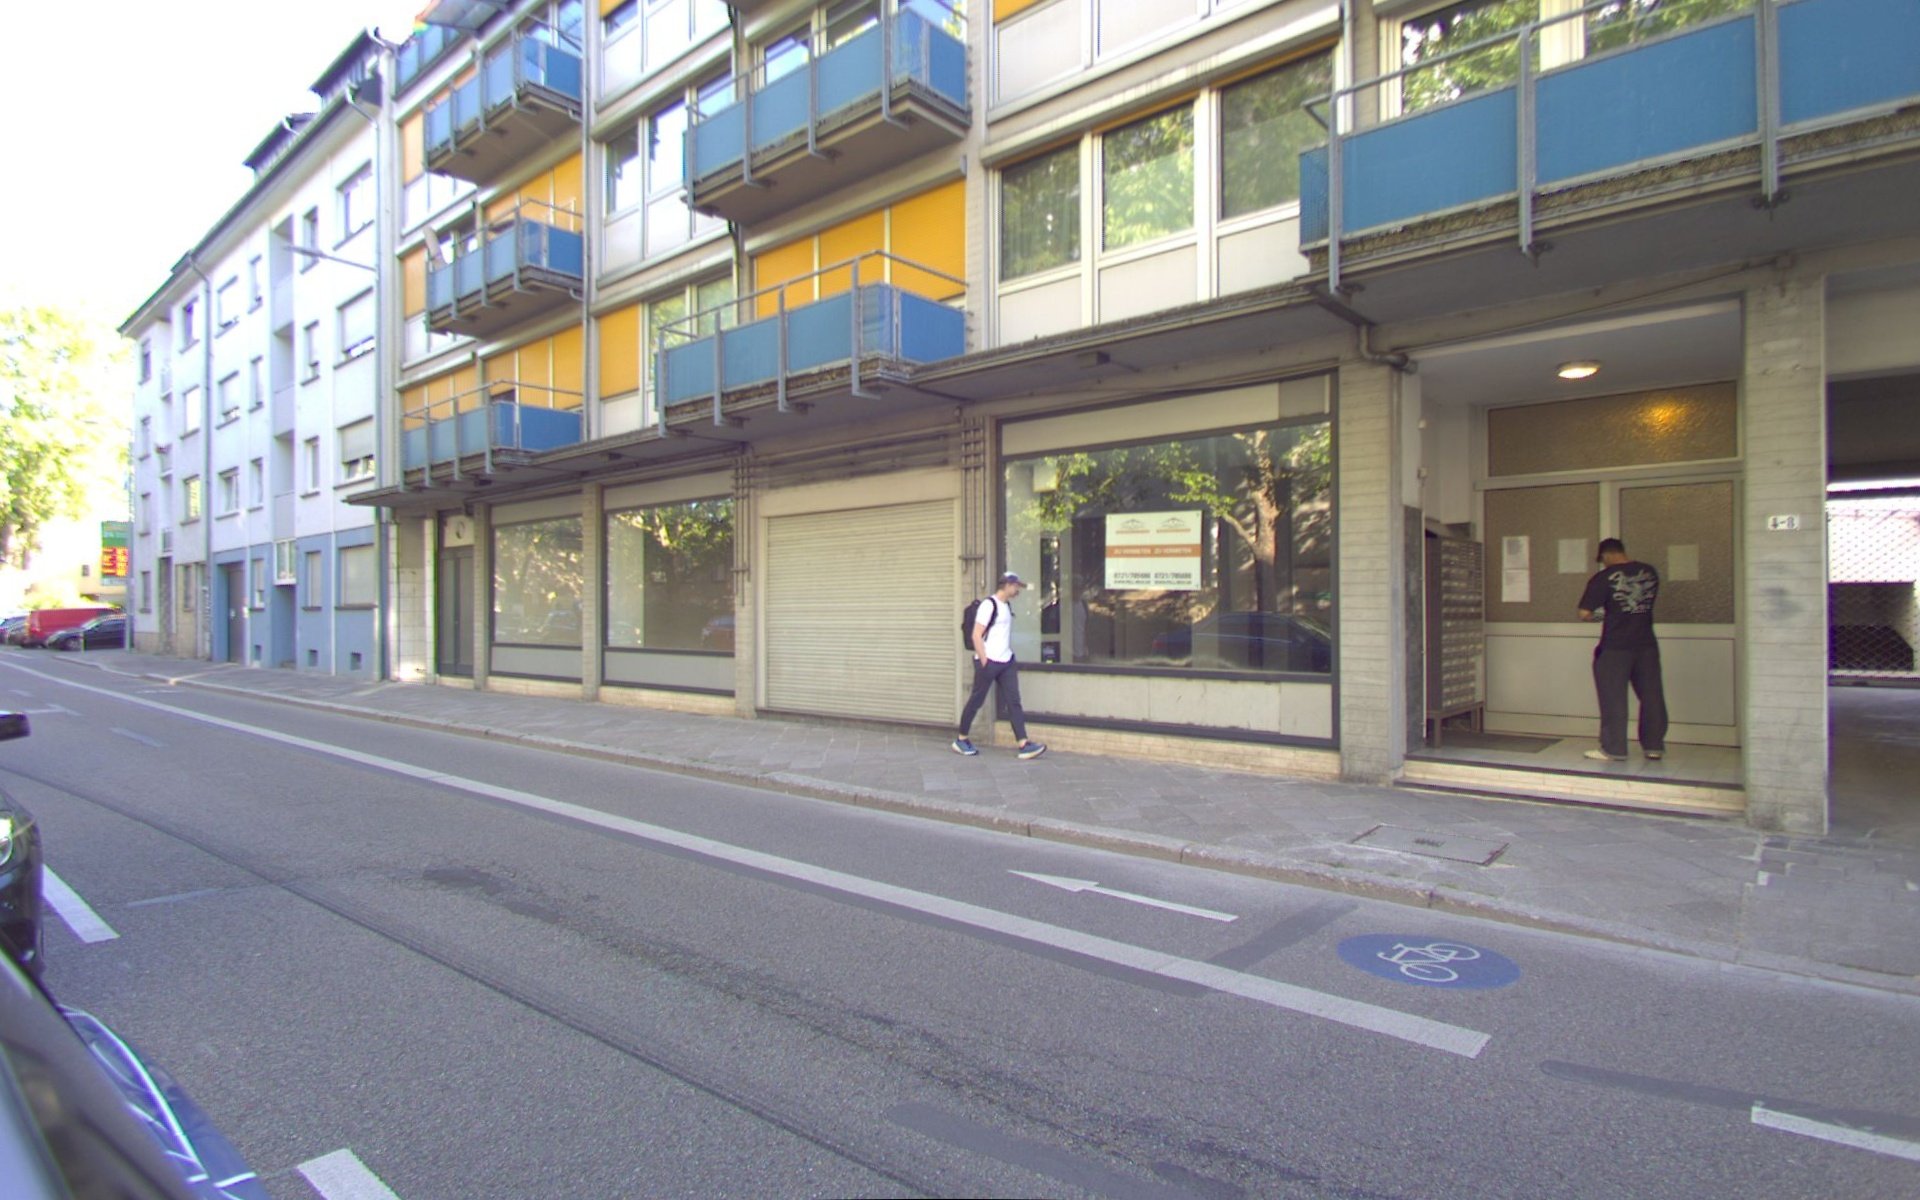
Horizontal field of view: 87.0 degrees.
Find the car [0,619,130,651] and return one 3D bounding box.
[{"bbox_3d":[-45.716,1.755,51.691,1.999,1.506,4.927,-1,-1,41],"label":"car"}]

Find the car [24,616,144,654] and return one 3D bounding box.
[{"bbox_3d":[-41.627,1.625,48.157,1.999,1.703,4.093,-1,-1,41],"label":"car"}]

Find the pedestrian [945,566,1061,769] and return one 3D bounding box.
[{"bbox_3d":[0.402,0.606,9.576,0.879,1.813,0.593,-1,0,42],"label":"pedestrian"}]

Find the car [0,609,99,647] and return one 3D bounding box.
[{"bbox_3d":[-55.397,1.677,61.141,1.999,2.210,4.927,-1,-1,41],"label":"car"}]

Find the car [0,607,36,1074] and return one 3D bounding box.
[{"bbox_3d":[-4.991,0.793,3.842,3.861,1.467,1.718,-1,-1,40],"label":"car"}]

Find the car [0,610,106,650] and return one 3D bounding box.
[{"bbox_3d":[-53.309,1.741,59.190,1.999,2.210,4.927,-1,-1,41],"label":"car"}]

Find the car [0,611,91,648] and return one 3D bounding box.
[{"bbox_3d":[-57.390,1.827,62.850,1.999,2.210,4.927,-1,-1,41],"label":"car"}]

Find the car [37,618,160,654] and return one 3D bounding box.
[{"bbox_3d":[-39.747,1.636,46.772,1.999,1.506,4.093,-1,-1,41],"label":"car"}]

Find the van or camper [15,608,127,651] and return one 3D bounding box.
[{"bbox_3d":[-43.883,1.435,49.999,1.999,2.029,3.946,-1,-1,40],"label":"van or camper"}]

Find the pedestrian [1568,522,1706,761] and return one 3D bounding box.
[{"bbox_3d":[5.112,0.301,7.661,0.650,1.726,0.550,0,-1,-16],"label":"pedestrian"}]
